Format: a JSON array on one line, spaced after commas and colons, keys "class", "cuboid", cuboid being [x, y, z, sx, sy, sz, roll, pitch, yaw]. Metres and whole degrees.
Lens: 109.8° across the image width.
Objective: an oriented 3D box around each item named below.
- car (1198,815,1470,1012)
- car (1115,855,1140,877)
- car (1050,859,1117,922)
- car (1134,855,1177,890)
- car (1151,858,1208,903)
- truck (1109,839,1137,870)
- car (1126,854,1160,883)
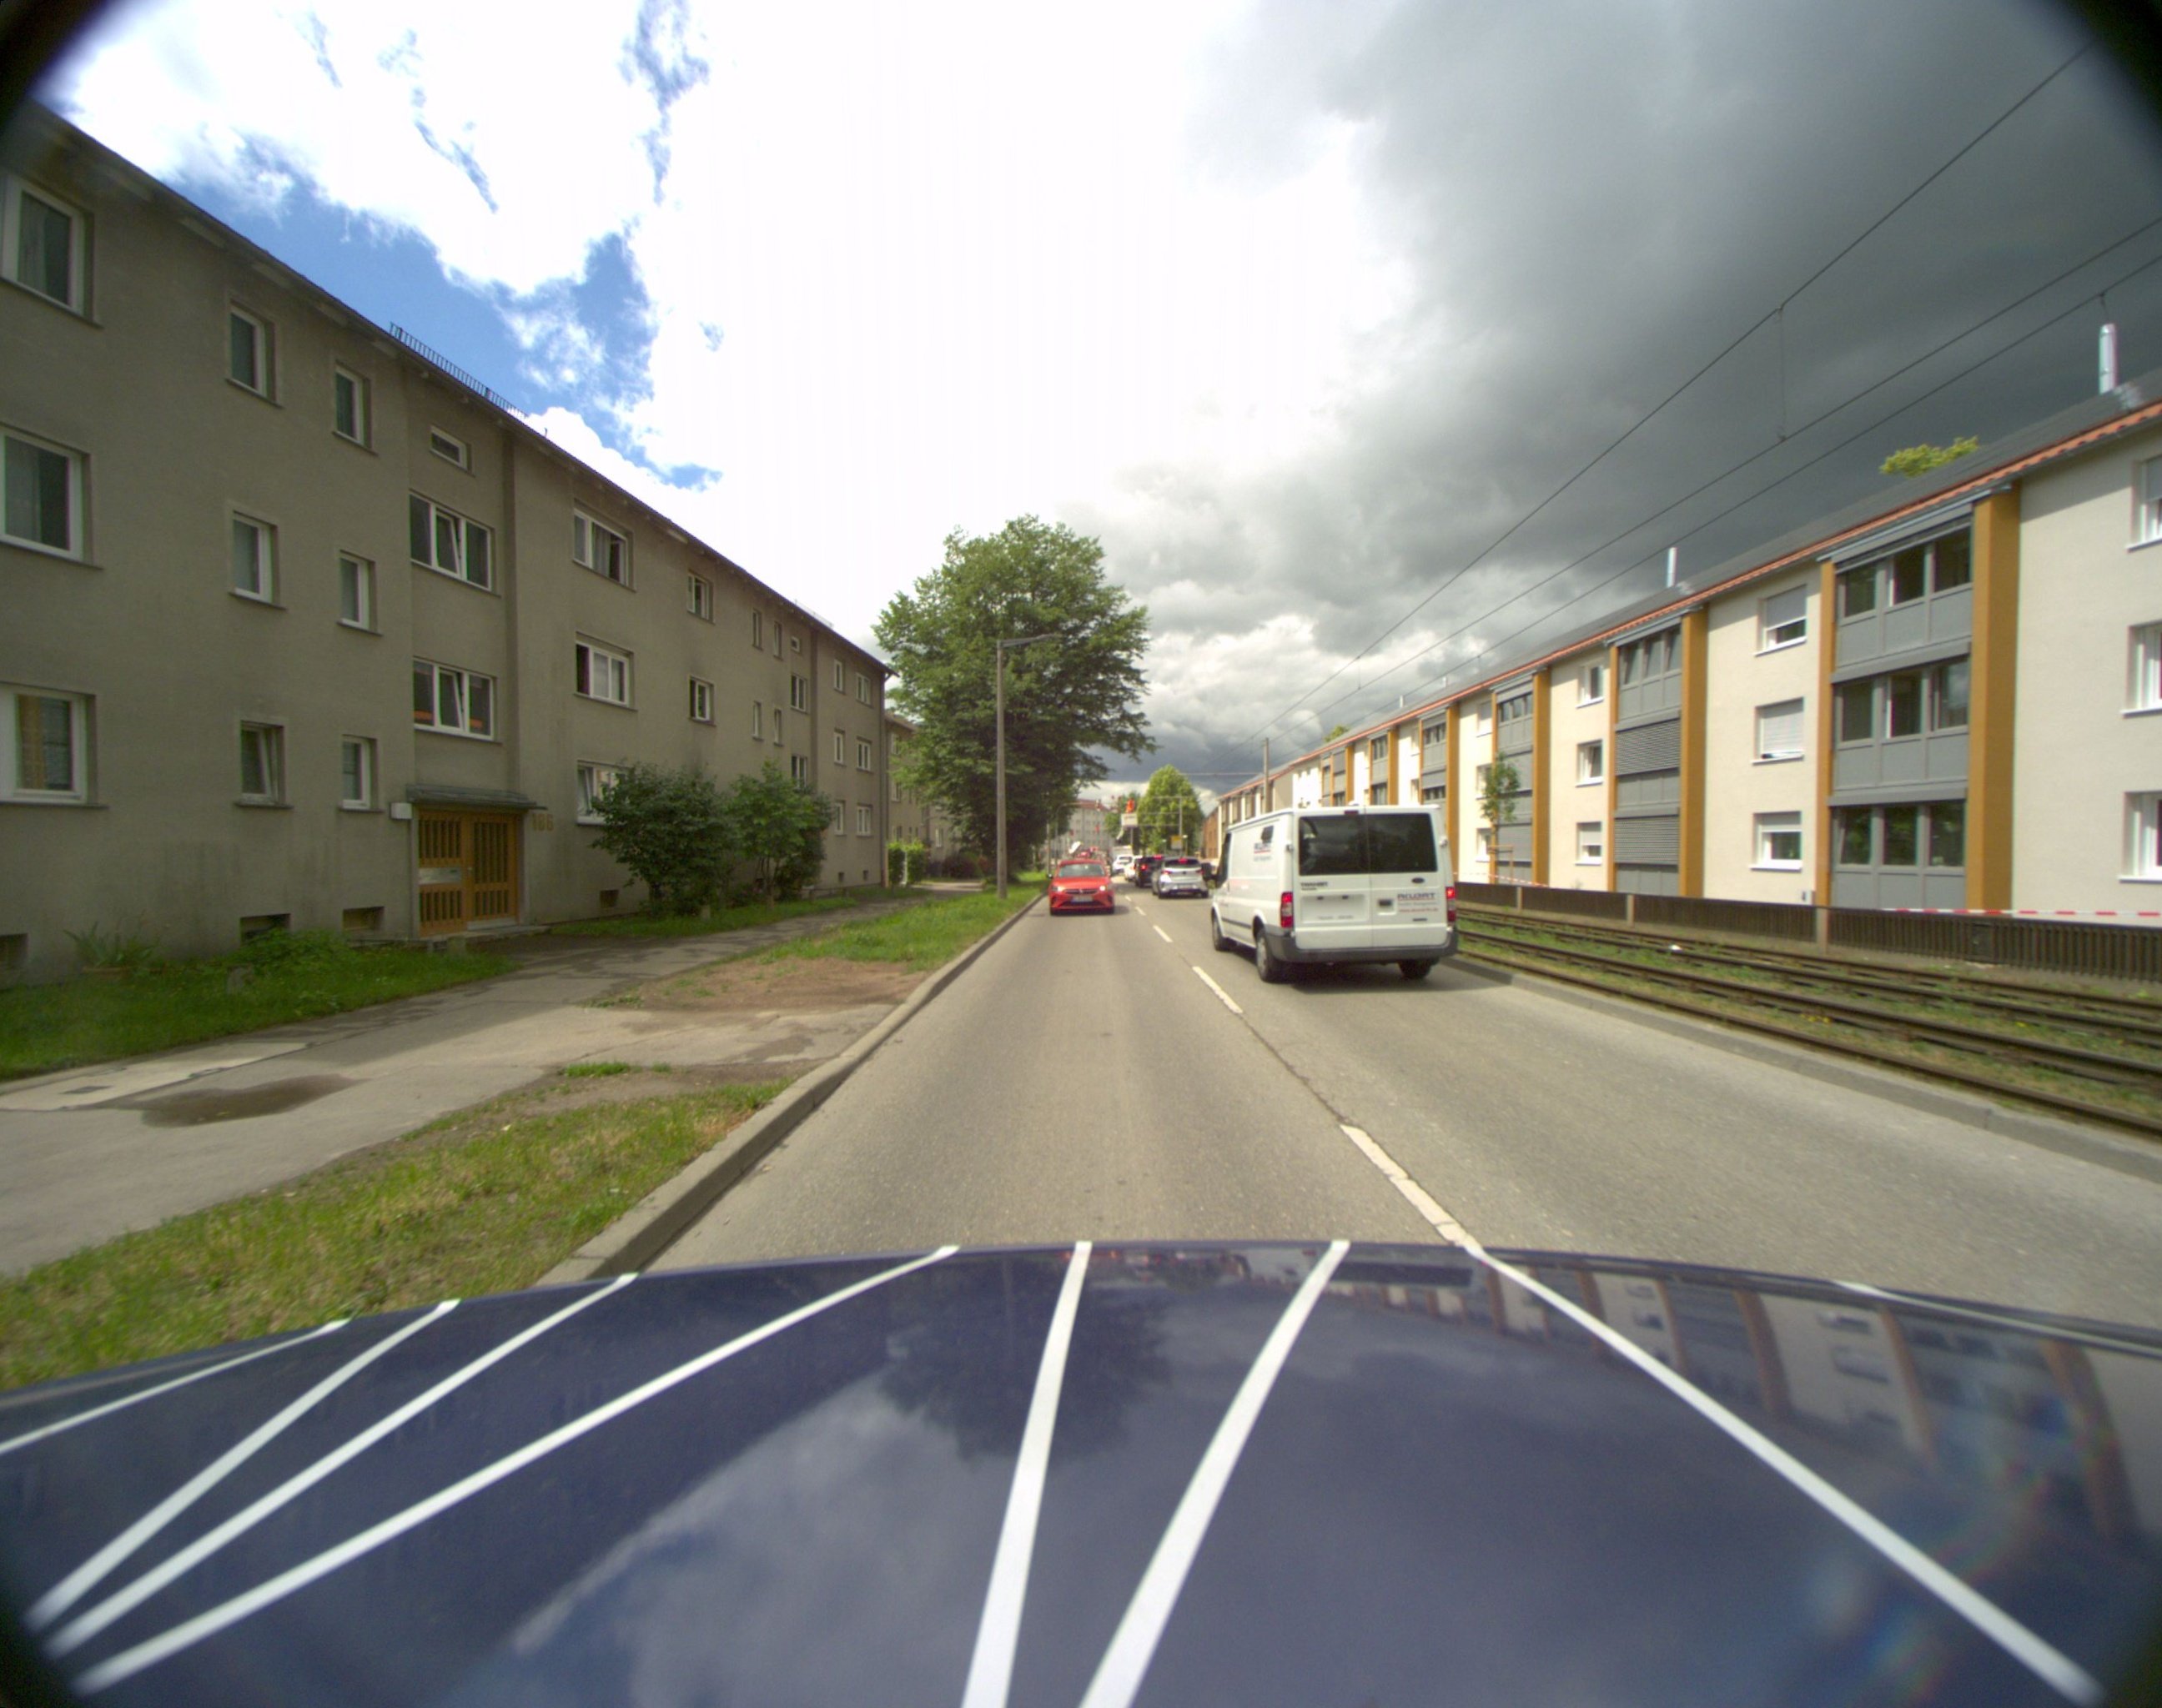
[{"class": "car", "cuboid": [2.983, 0.610, 10.236, 1.999, 1.984, 4.785, -1, 0, -1]}, {"class": "car", "cuboid": [3.539, 0.898, 58.289, 1.666, 1.512, 3.861, -2, 0, 0]}, {"class": "car", "cuboid": [0.085, 0.934, 21.172, 1.666, 1.513, 3.786, -2, 0, 0]}, {"class": "car", "cuboid": [3.470, 0.820, 35.801, 1.666, 1.512, 3.678, -2, 0, 0]}, {"class": "car", "cuboid": [3.433, 0.884, 26.937, 1.613, 1.405, 3.647, -2, 1, 2]}, {"class": "truck", "cuboid": [3.834, 0.010, 70.558, 2.096, 2.723, 5.096, -2, 1, -2]}, {"class": "car", "cuboid": [3.540, 0.799, 43.867, 1.666, 1.512, 3.786, -2, 0, 0]}]
